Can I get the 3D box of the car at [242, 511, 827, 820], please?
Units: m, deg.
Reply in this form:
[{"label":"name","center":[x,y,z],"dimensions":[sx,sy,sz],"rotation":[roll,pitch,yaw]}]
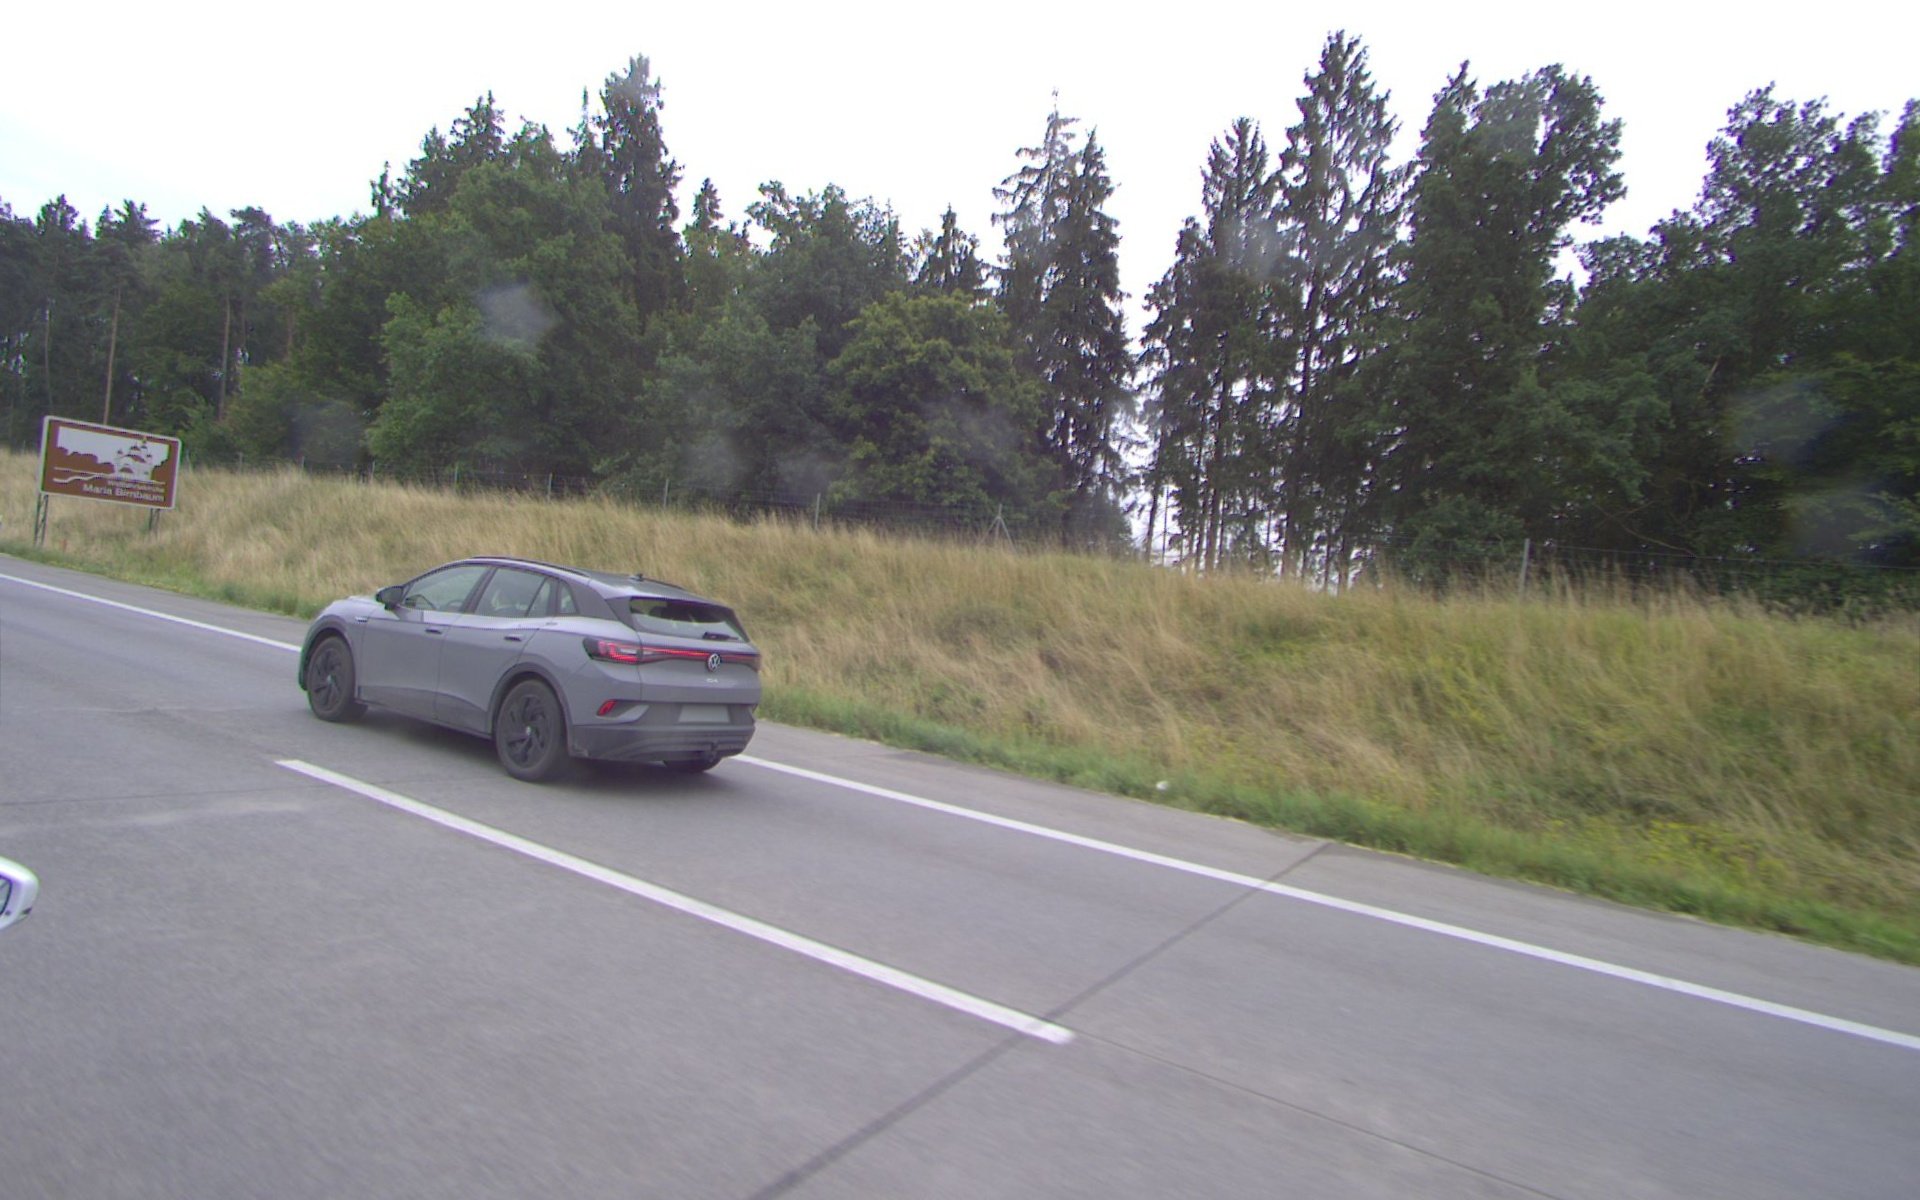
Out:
[{"label":"car","center":[-3.892,0.414,8.846],"dimensions":[5.177,1.709,1.902],"rotation":[8,-1,31]}]
